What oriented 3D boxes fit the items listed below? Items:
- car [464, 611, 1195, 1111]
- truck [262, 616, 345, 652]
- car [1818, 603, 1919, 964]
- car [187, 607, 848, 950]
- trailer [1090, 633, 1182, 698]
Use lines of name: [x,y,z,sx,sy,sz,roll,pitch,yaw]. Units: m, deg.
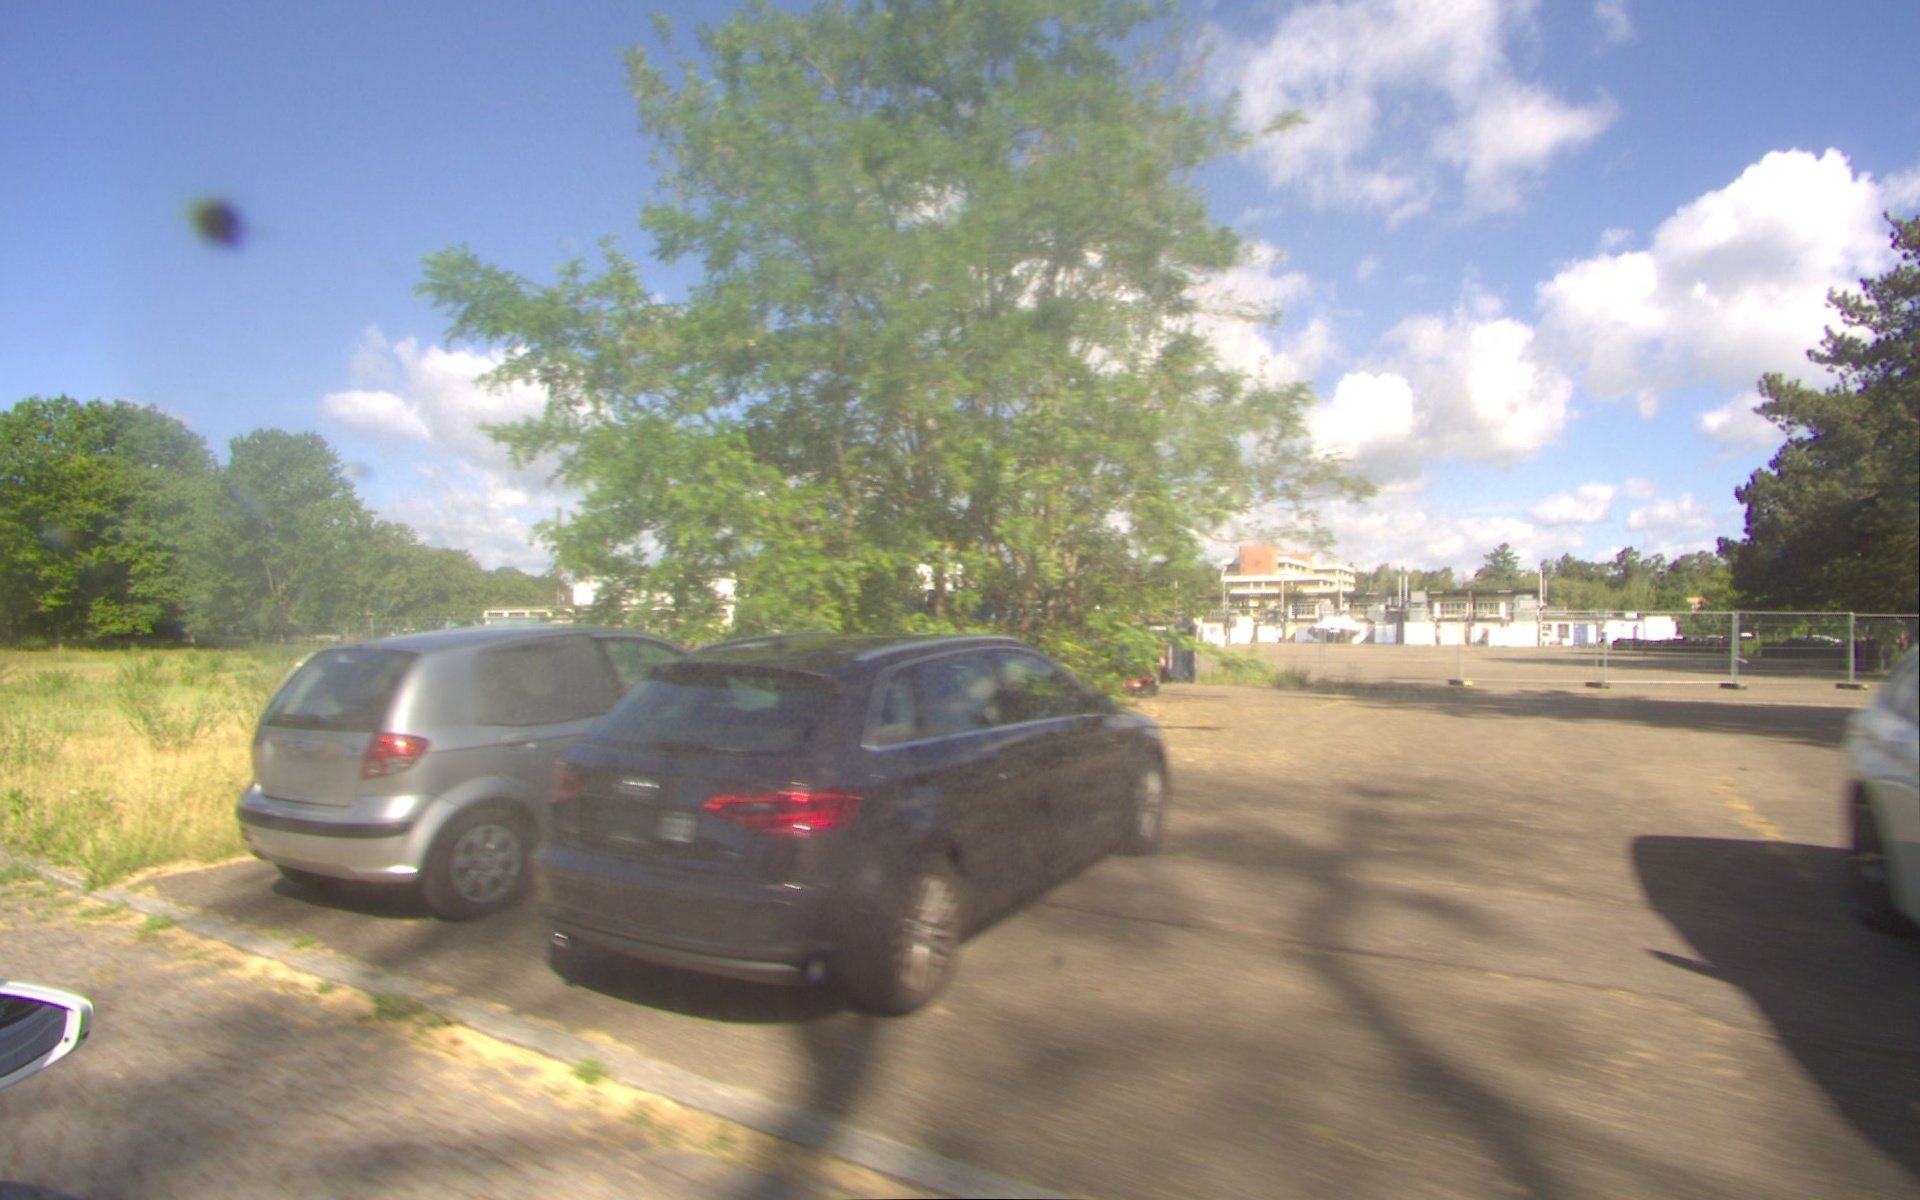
car: [-0.222,0.850,5.338,1.816,1.460,3.998,0,1,30]
truck: [-47.140,2.475,71.833,6.785,2.453,2.231,-1,-3,31]
car: [4.425,0.770,3.059,1.811,1.484,4.507,-1,0,29]
car: [-2.560,0.856,6.698,1.726,1.496,3.734,-1,1,30]
trailer: [3.314,1.210,18.643,1.020,1.119,2.399,-1,-3,28]
